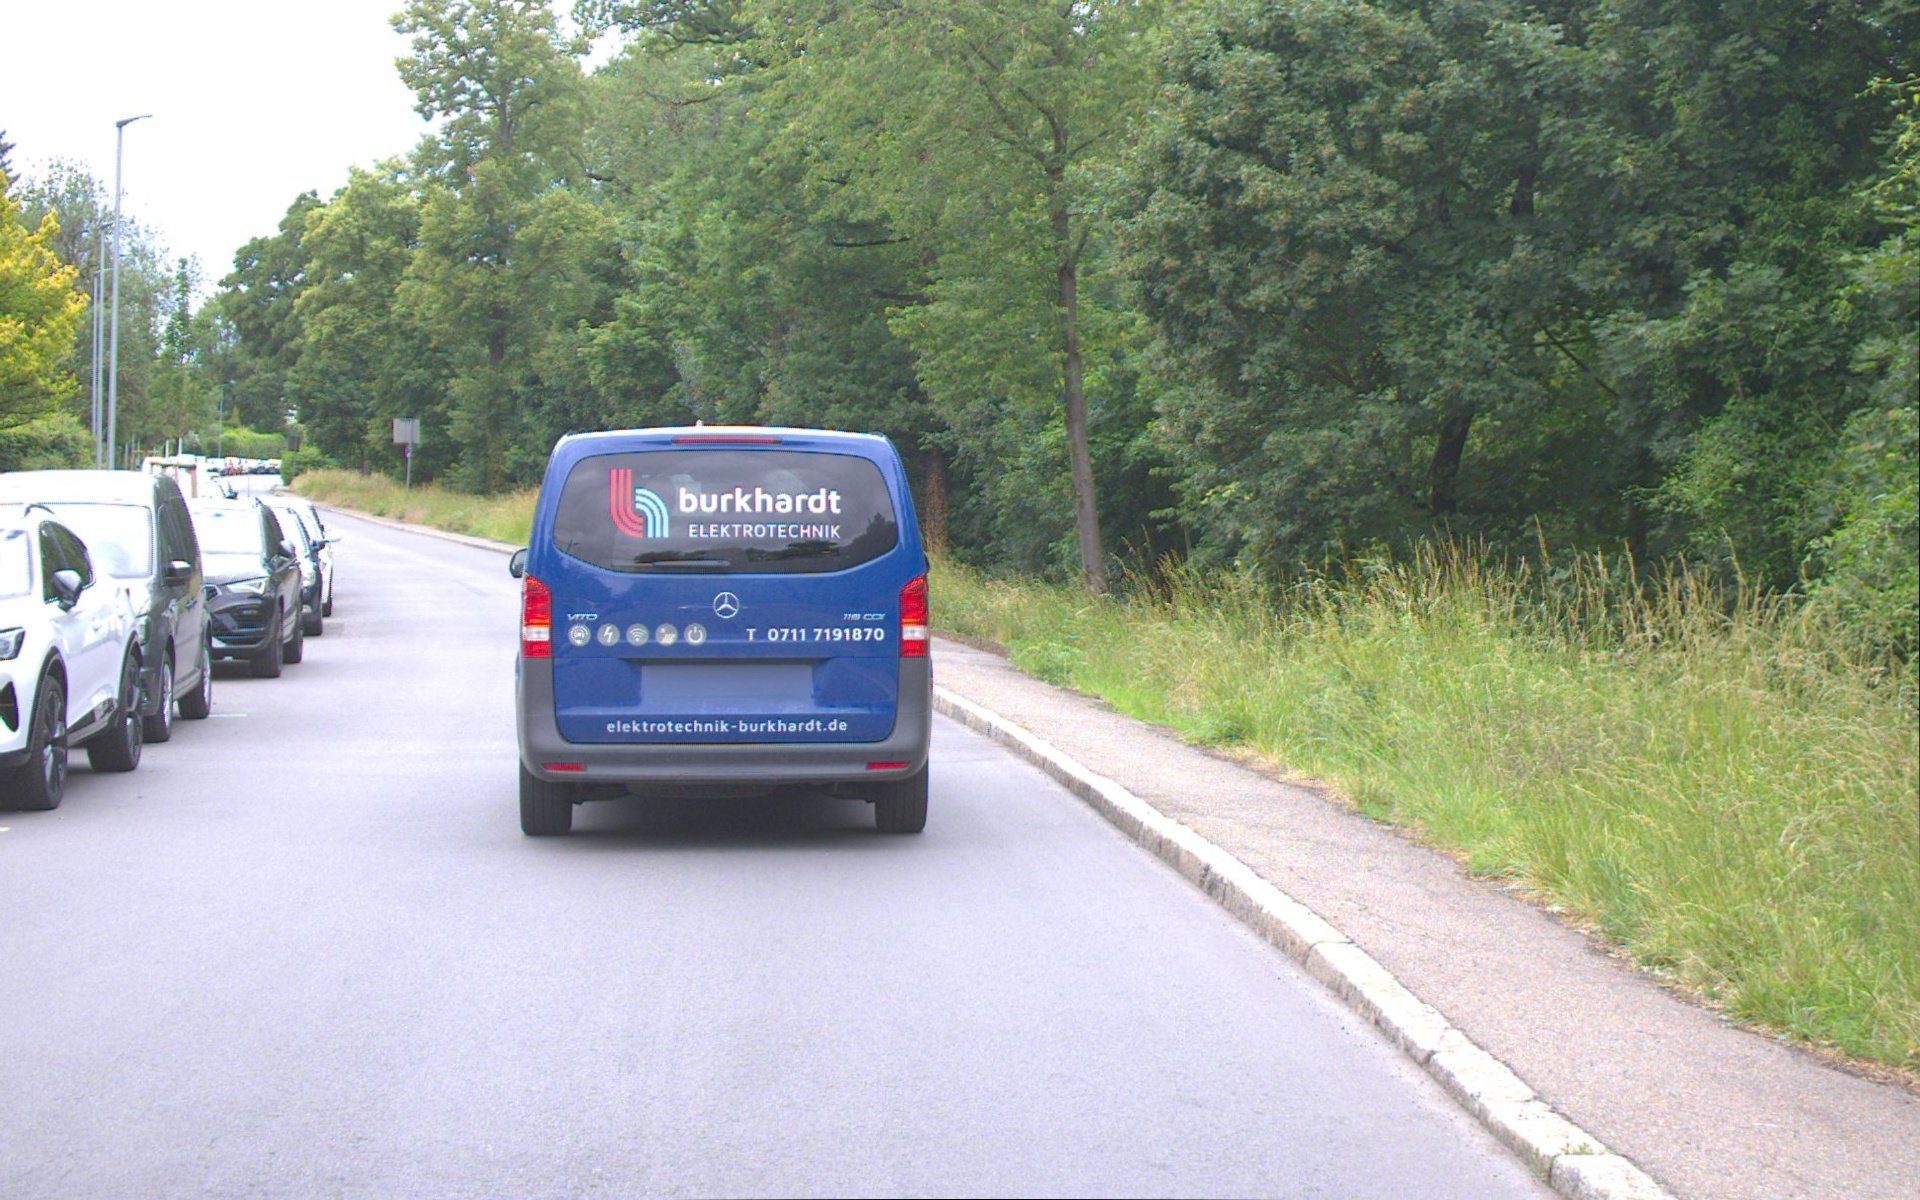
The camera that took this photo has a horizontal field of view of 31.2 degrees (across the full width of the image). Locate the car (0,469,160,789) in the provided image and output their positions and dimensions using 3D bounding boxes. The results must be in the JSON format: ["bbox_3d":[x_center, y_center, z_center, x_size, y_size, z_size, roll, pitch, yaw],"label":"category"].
[{"bbox_3d":[-5.421,0.094,18.107,1.724,1.487,4.414,2,0,-5],"label":"car"}]

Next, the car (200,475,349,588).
[{"bbox_3d":[-9.127,-0.926,45.992,1.607,1.338,3.857,4,1,-7],"label":"car"}]

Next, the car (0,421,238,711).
[{"bbox_3d":[-6.105,-0.252,23.725,1.744,1.758,4.414,3,0,-7],"label":"car"}]

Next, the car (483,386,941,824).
[{"bbox_3d":[-1.235,-0.033,16.900,1.913,1.831,4.295,1,1,-5],"label":"car"}]

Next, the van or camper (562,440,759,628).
[{"bbox_3d":[-3.507,-0.823,39.501,2.019,1.950,4.898,-1,3,-7],"label":"van or camper"}]

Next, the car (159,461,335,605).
[{"bbox_3d":[-8.330,-0.796,40.389,1.607,1.508,3.857,4,1,-7],"label":"car"}]

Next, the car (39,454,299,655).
[{"bbox_3d":[-7.252,-0.447,31.876,1.815,1.610,4.225,4,1,-7],"label":"car"}]

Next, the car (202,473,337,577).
[{"bbox_3d":[-10.418,-1.138,52.069,1.607,1.403,3.857,4,1,-7],"label":"car"}]
